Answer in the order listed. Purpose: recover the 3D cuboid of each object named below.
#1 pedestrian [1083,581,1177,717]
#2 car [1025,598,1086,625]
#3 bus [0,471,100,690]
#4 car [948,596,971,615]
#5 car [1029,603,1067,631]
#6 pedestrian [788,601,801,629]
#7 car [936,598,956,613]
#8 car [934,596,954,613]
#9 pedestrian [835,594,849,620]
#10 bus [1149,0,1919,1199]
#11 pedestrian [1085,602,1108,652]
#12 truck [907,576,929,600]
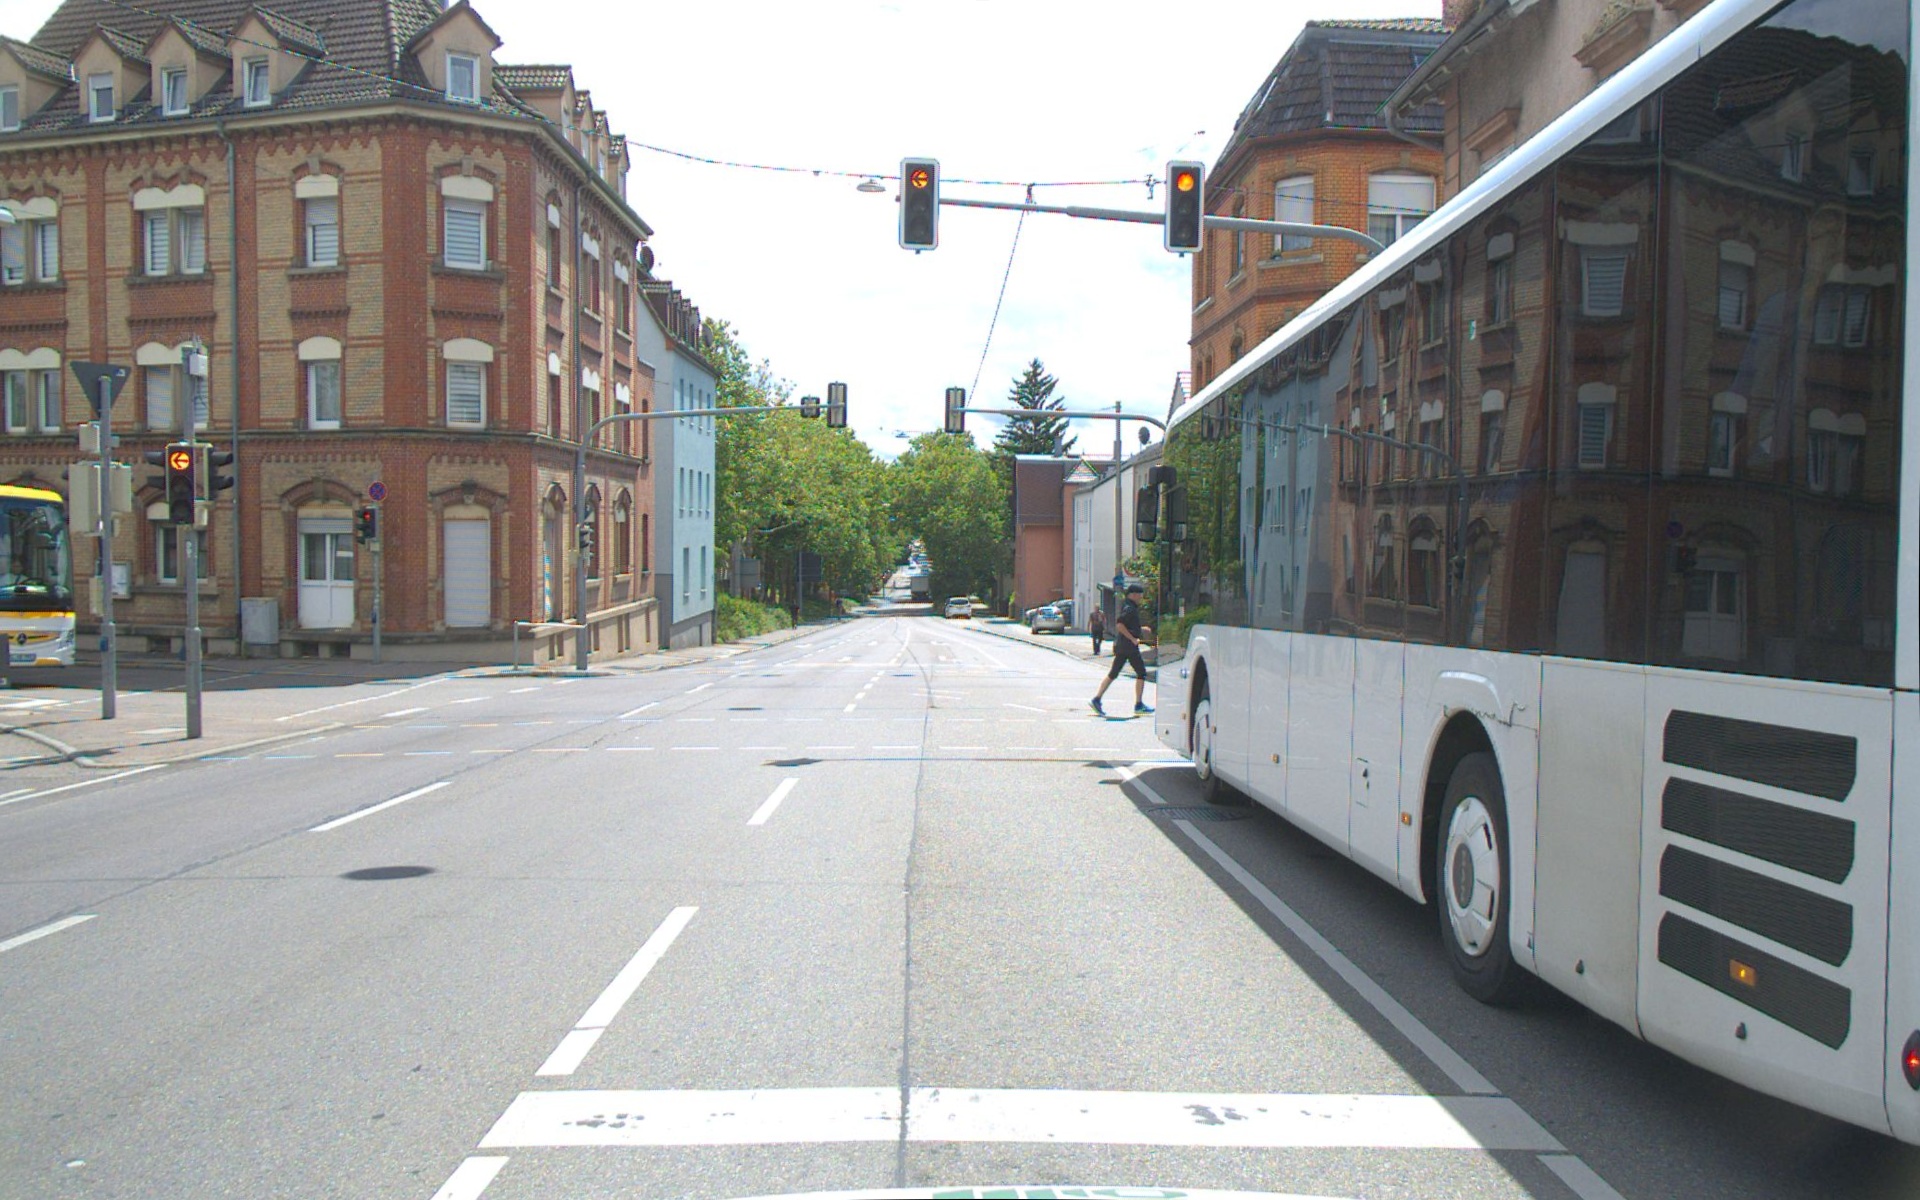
[{"bbox_3d":[2.246,0.636,21.971,1.118,1.765,0.758,0,0,-5],"label":"pedestrian"},{"bbox_3d":[6.500,0.776,113.247,3.909,1.788,1.998,-1,0,-6],"label":"car"},{"bbox_3d":[-21.417,-0.359,30.784,11.979,3.685,2.770,0,0,24],"label":"bus"},{"bbox_3d":[-0.046,0.453,129.262,1.758,1.434,3.999,1,0,-1],"label":"car"},{"bbox_3d":[4.923,0.944,93.122,1.758,1.434,3.999,-1,1,-2],"label":"car"},{"bbox_3d":[-9.657,0.880,96.490,0.714,1.592,0.560,0,0,-2],"label":"pedestrian"},{"bbox_3d":[-1.316,0.511,154.244,1.757,1.434,4.418,1,0,0],"label":"car"},{"bbox_3d":[-1.387,0.399,145.821,1.757,1.434,4.418,1,0,0],"label":"car"},{"bbox_3d":[-9.167,0.528,128.484,0.974,2.049,1.188,0,0,-1],"label":"pedestrian"},{"bbox_3d":[3.153,-0.137,9.294,2.618,3.211,12.459,0,0,-1],"label":"bus"},{"bbox_3d":[4.897,0.952,59.296,0.723,1.781,0.619,-1,0,-1],"label":"pedestrian"},{"bbox_3d":[-5.903,-1.672,231.033,2.868,3.135,7.881,-1,0,-3],"label":"truck"}]
